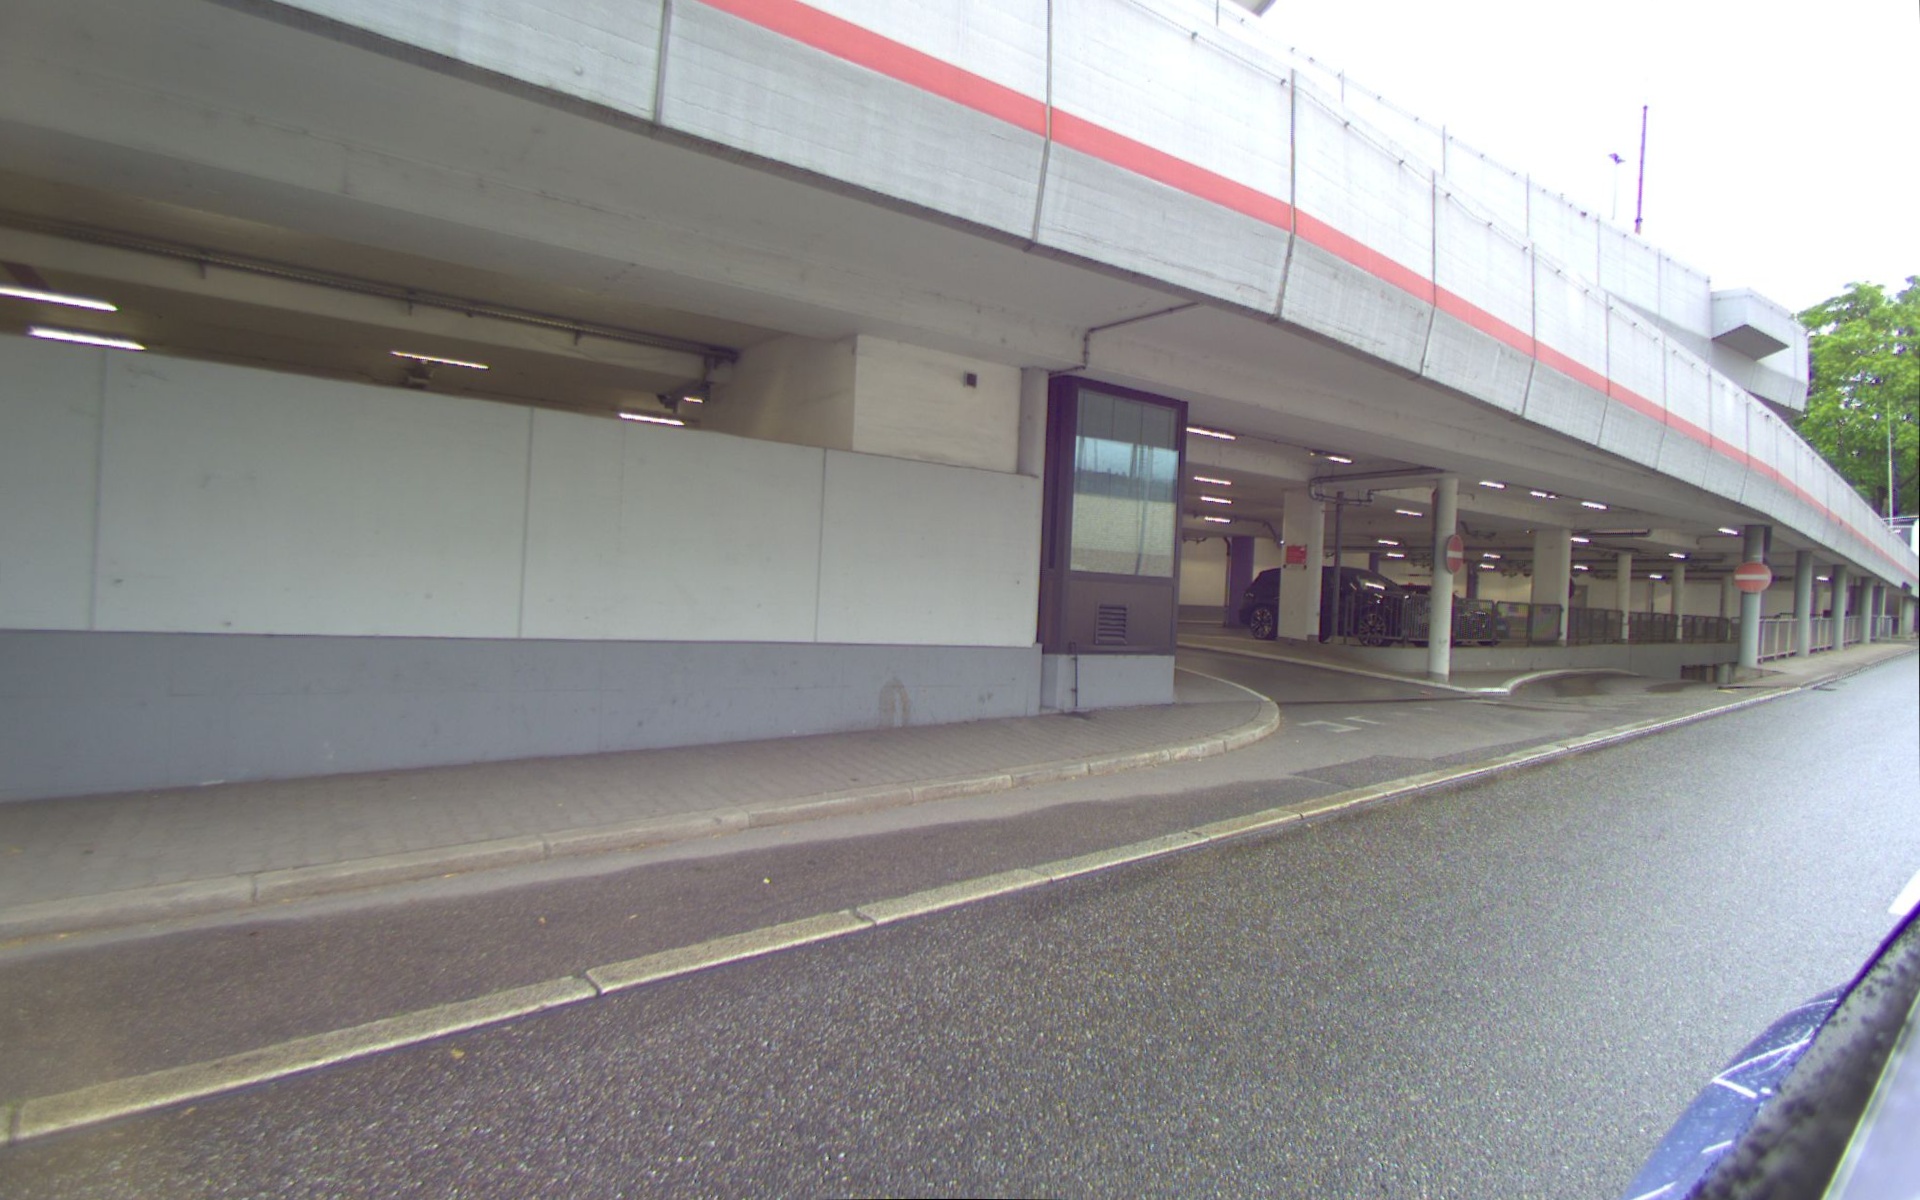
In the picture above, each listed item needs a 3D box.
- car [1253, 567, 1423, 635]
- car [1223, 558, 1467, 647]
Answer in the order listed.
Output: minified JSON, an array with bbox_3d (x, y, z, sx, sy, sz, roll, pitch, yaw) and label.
[{"bbox_3d":[9.748,-0.008,26.318,1.774,1.524,3.734,2,1,-38],"label":"car"},{"bbox_3d":[8.011,-0.025,21.468,1.788,1.660,4.590,1,2,-37],"label":"car"}]
